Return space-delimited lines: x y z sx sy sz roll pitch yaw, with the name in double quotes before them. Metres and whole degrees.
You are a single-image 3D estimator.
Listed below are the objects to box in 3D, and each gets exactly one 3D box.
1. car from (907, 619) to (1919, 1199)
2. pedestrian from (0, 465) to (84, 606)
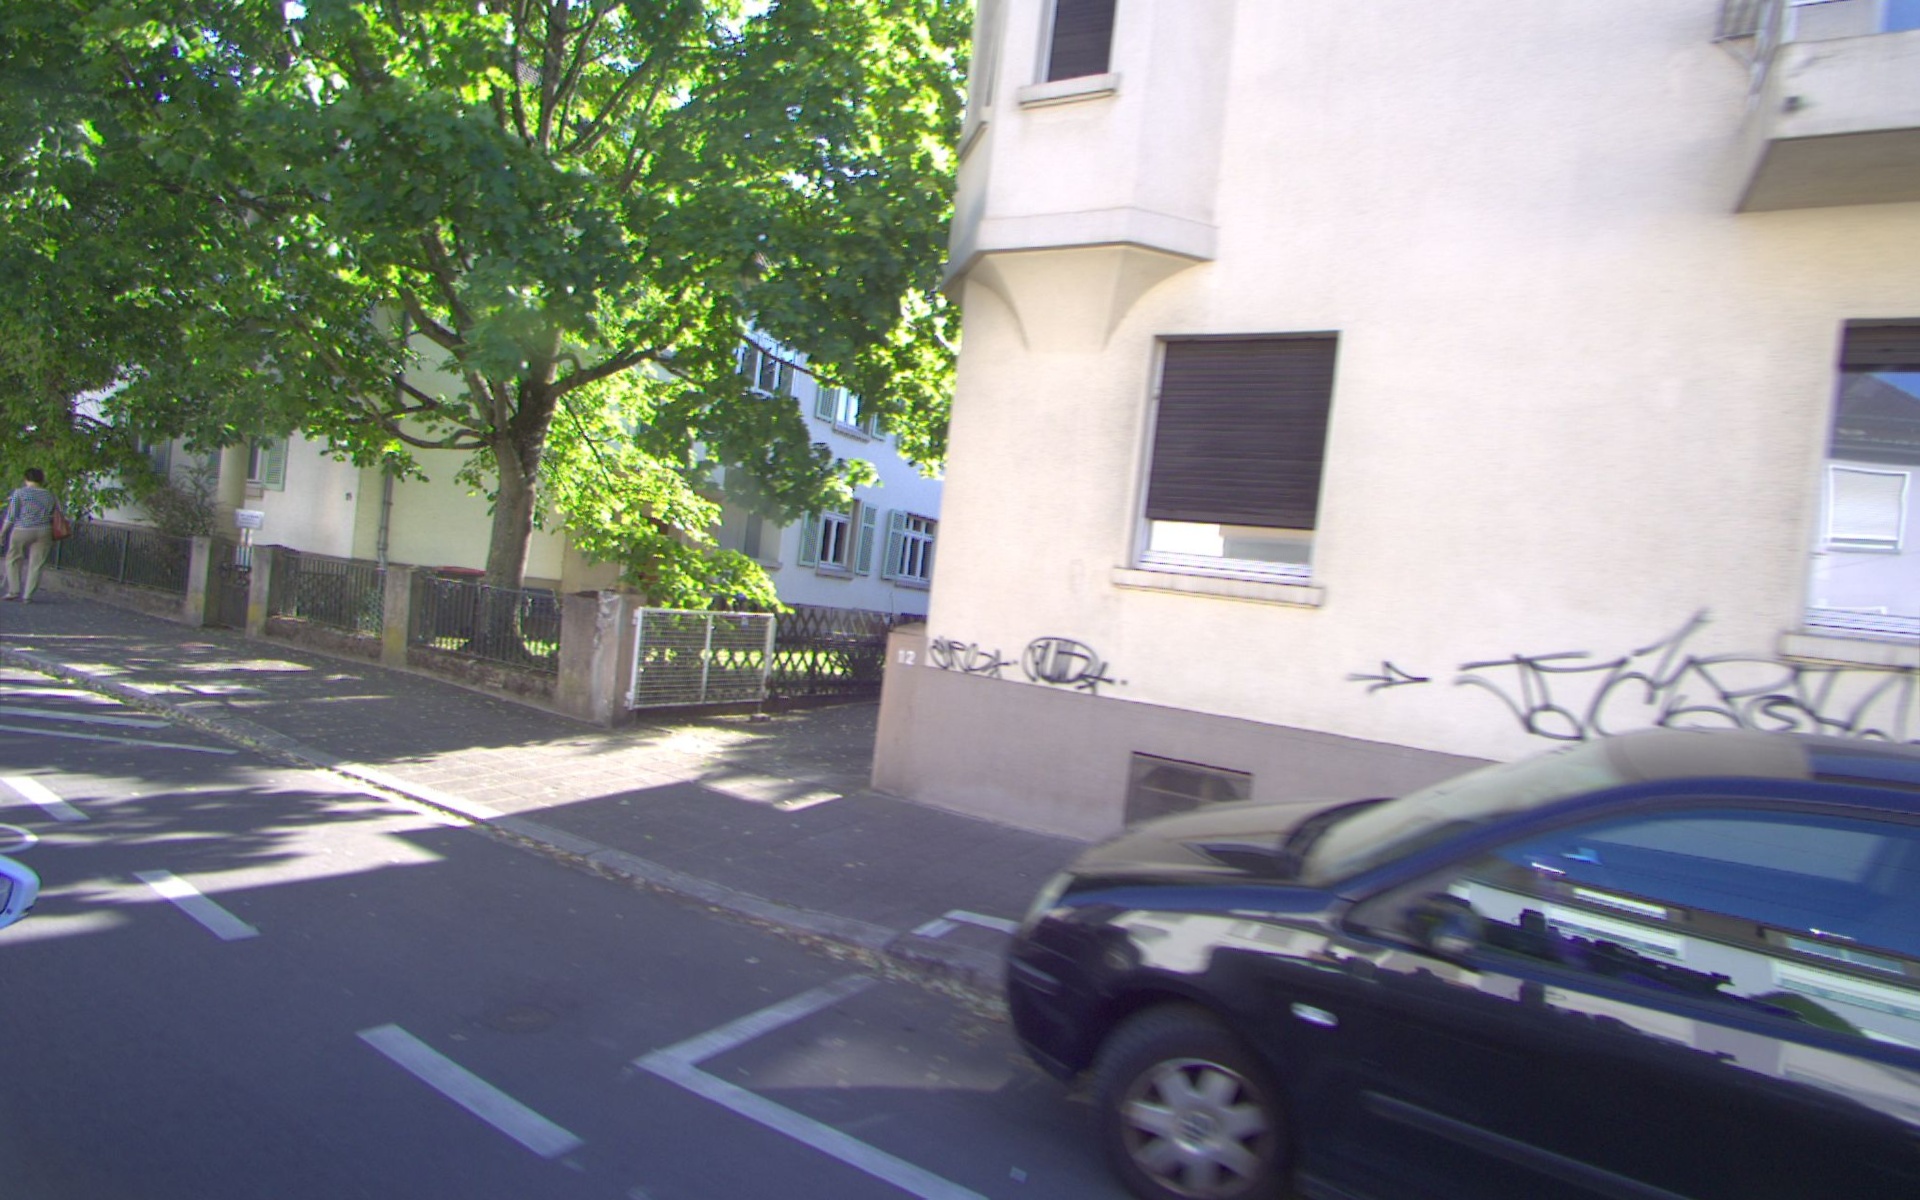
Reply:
"car" 1.904 1.069 2.760 3.710 1.583 1.666 6 0 34
"pedestrian" -12.034 -0.832 13.007 0.855 1.710 0.718 7 2 28
